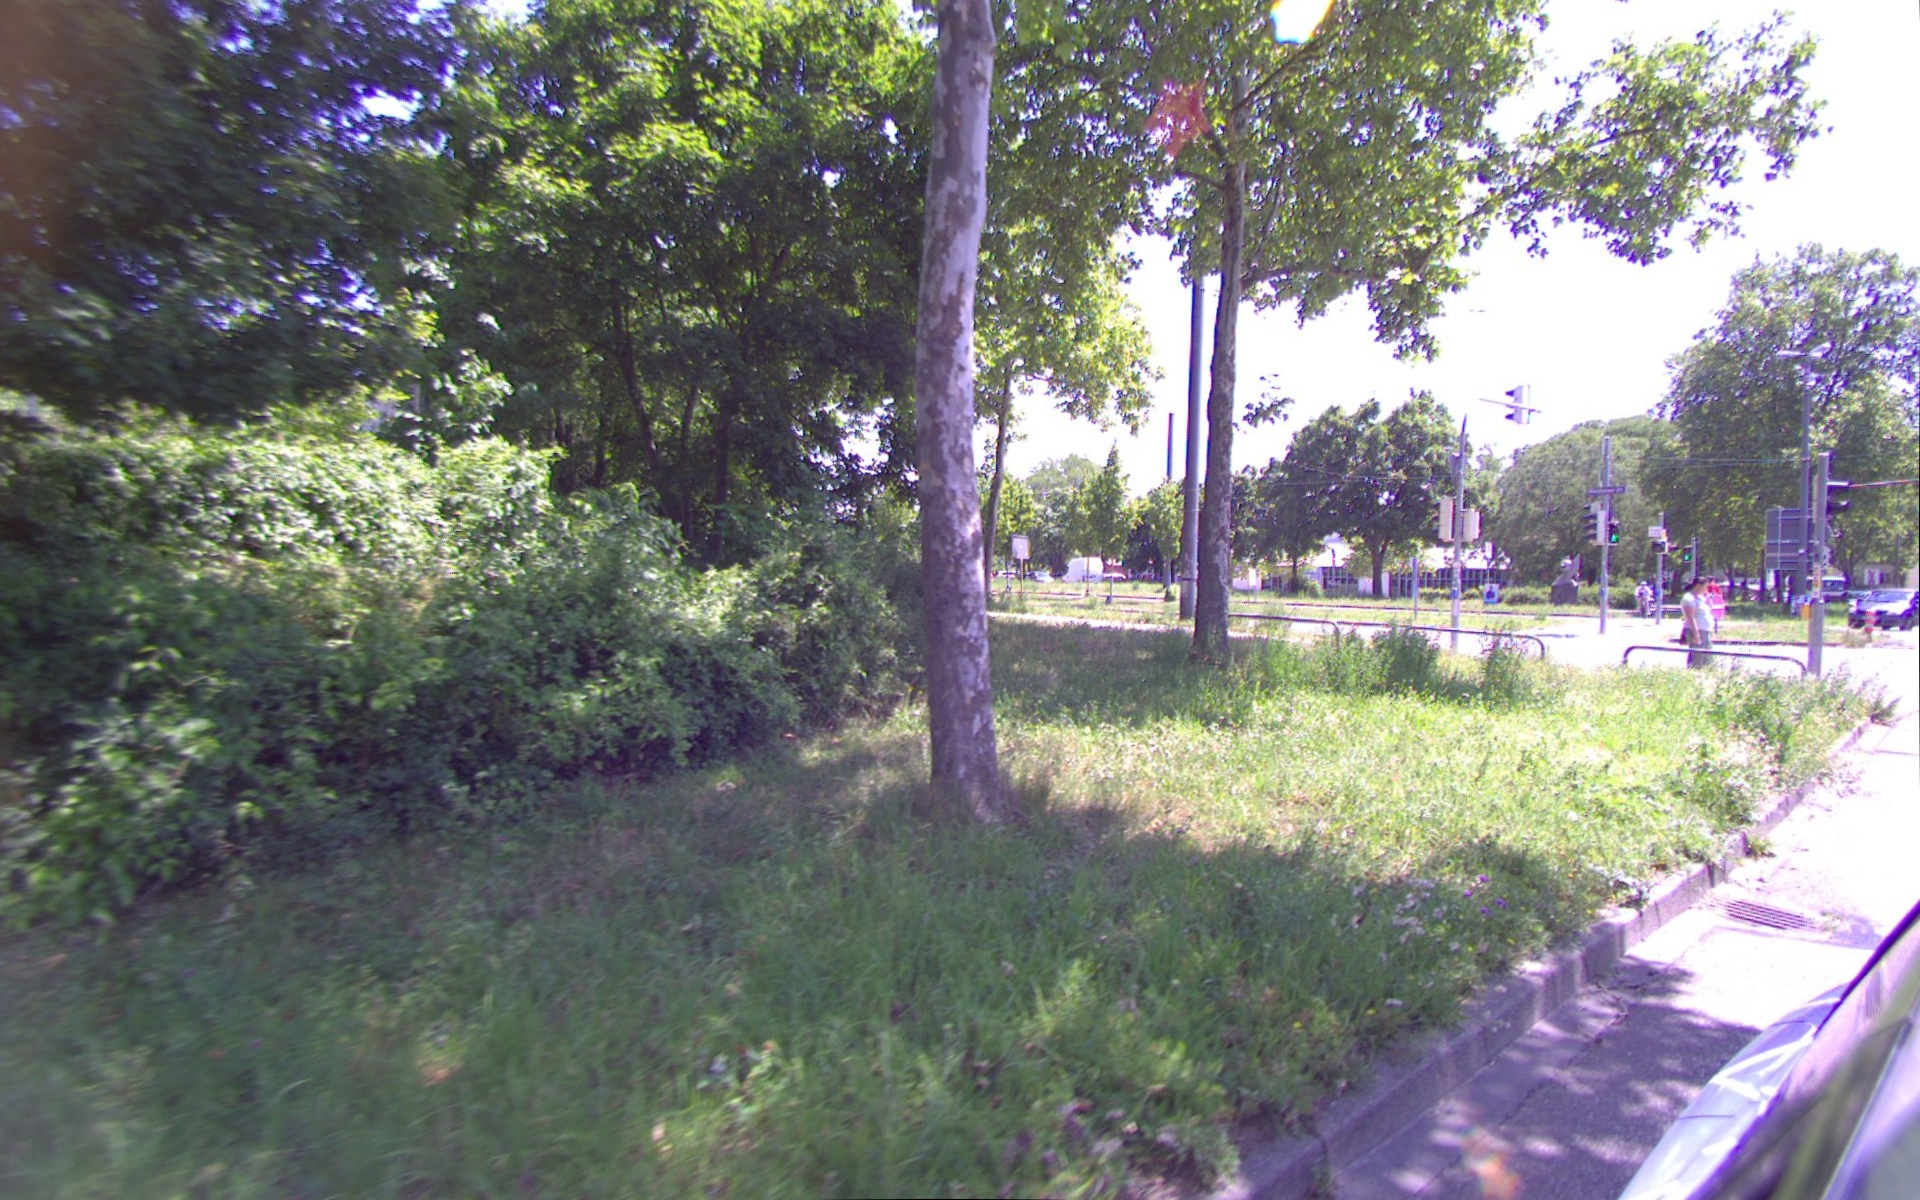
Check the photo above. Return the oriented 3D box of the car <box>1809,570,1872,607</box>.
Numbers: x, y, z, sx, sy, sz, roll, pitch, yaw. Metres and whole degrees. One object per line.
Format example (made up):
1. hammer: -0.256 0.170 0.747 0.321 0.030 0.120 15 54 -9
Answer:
1. car: 67.767 -0.912 77.991 2.901 2.687 6.288 1 2 34

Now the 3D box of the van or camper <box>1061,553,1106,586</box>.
1. van or camper: 10.670 -2.636 87.675 2.157 2.785 5.141 1 2 -13

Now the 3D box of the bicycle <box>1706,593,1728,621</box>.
1. bicycle: 25.946 0.233 34.668 0.585 0.907 1.787 1 2 37

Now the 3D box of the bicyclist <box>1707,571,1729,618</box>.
1. bicyclist: 25.955 -0.196 34.668 0.576 1.576 0.664 1 1 38

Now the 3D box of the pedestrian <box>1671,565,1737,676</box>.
1. pedestrian: 10.301 0.266 14.014 0.618 1.502 0.554 0 1 -37

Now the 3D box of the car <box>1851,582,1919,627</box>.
1. car: 33.171 0.132 35.371 3.785 1.480 1.658 0 1 -25

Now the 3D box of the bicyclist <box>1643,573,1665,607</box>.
1. bicyclist: 28.090 -0.415 40.993 0.594 1.355 0.661 1 1 24

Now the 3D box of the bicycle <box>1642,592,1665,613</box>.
1. bicycle: 28.030 0.083 40.910 0.460 0.773 1.655 2 2 24

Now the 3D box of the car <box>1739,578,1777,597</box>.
1. car: 79.097 -1.278 100.354 1.979 1.860 3.967 1 2 24

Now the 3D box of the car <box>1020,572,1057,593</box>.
1. car: 6.549 -1.503 85.066 1.915 1.739 4.080 1 1 -14

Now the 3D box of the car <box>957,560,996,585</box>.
1. car: 1.338 -2.290 85.219 2.030 2.028 4.674 1 1 -15
